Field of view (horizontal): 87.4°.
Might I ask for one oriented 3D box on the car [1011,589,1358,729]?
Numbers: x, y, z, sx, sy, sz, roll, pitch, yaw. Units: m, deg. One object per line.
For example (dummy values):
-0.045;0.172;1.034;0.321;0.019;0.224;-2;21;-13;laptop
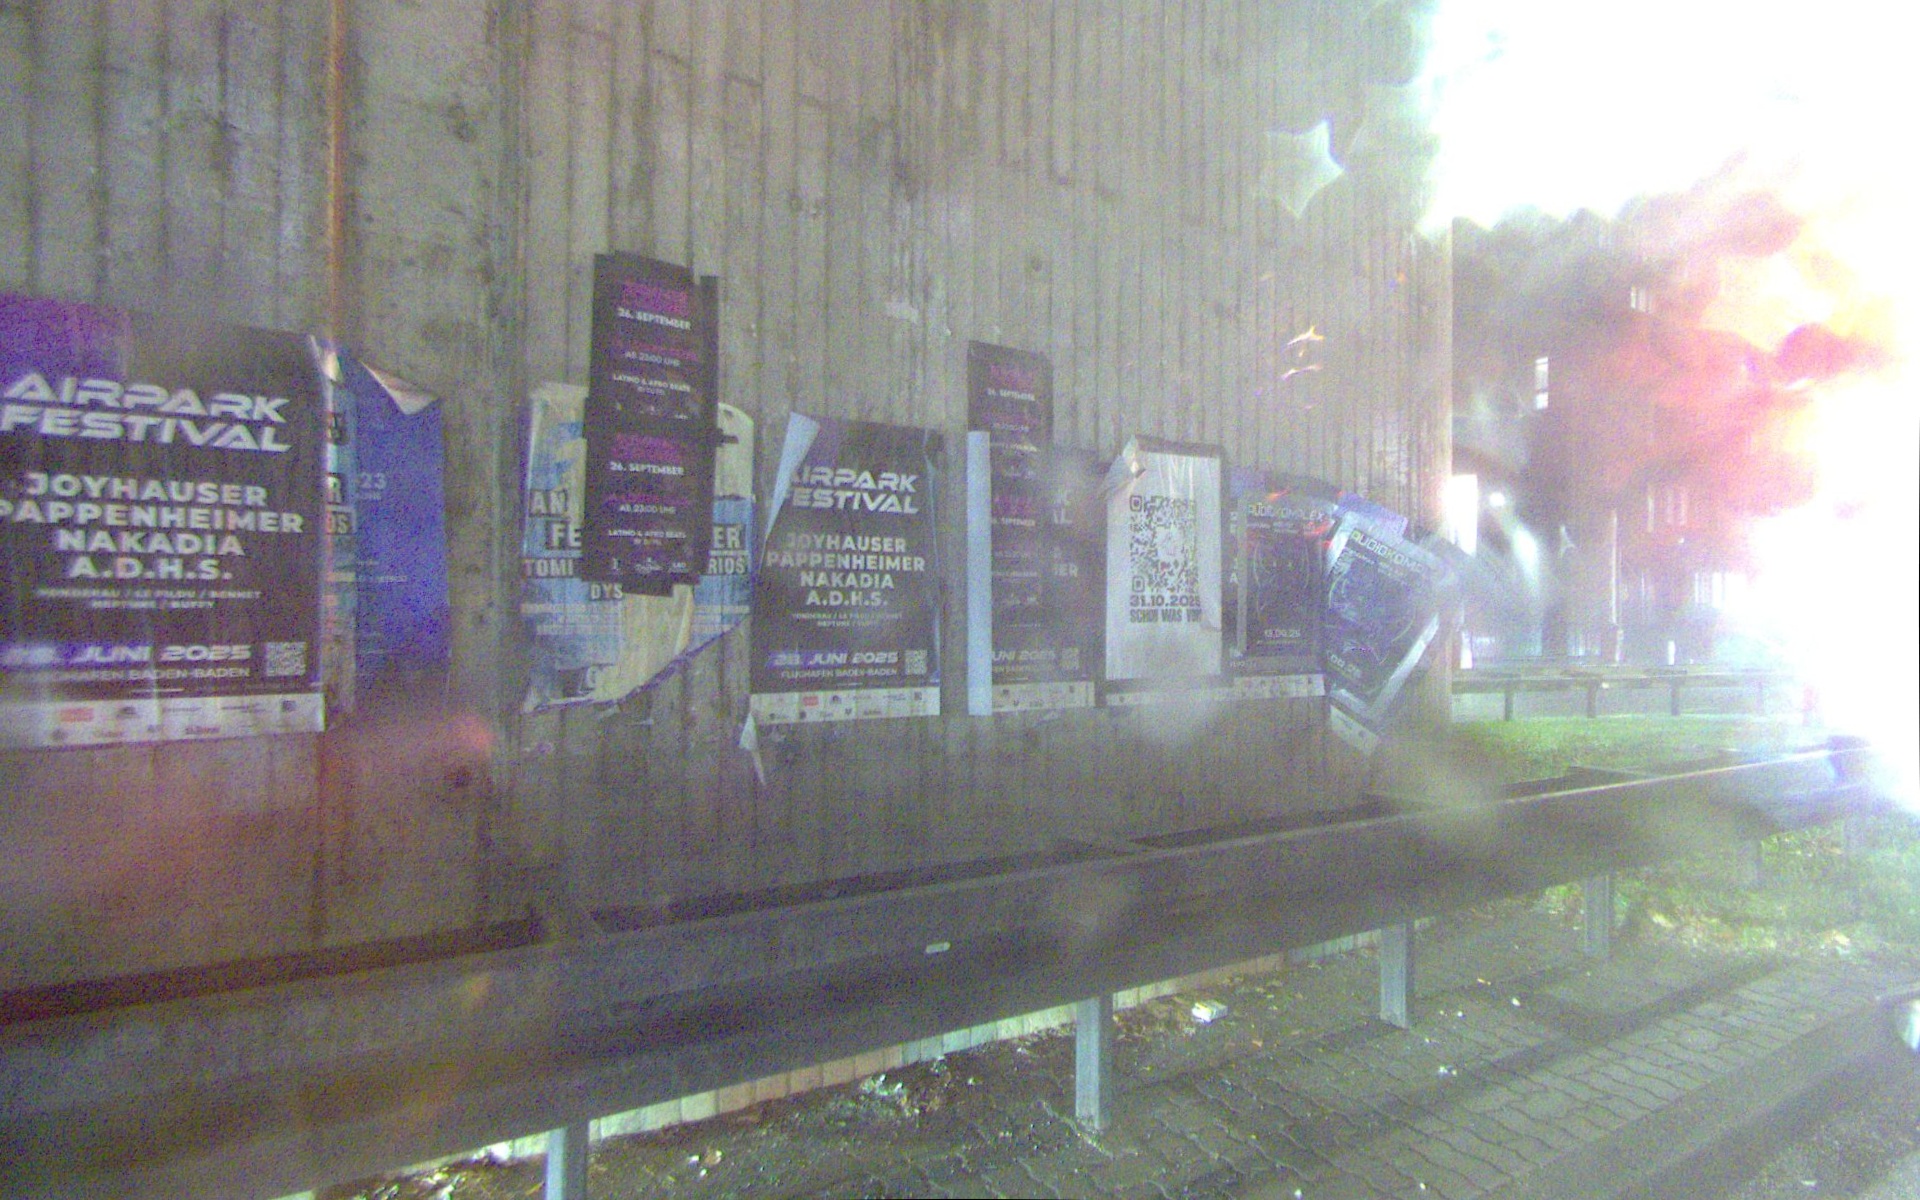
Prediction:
3.493;0.902;15.947;5.021;2.011;1.995;1;-1;-13;car
